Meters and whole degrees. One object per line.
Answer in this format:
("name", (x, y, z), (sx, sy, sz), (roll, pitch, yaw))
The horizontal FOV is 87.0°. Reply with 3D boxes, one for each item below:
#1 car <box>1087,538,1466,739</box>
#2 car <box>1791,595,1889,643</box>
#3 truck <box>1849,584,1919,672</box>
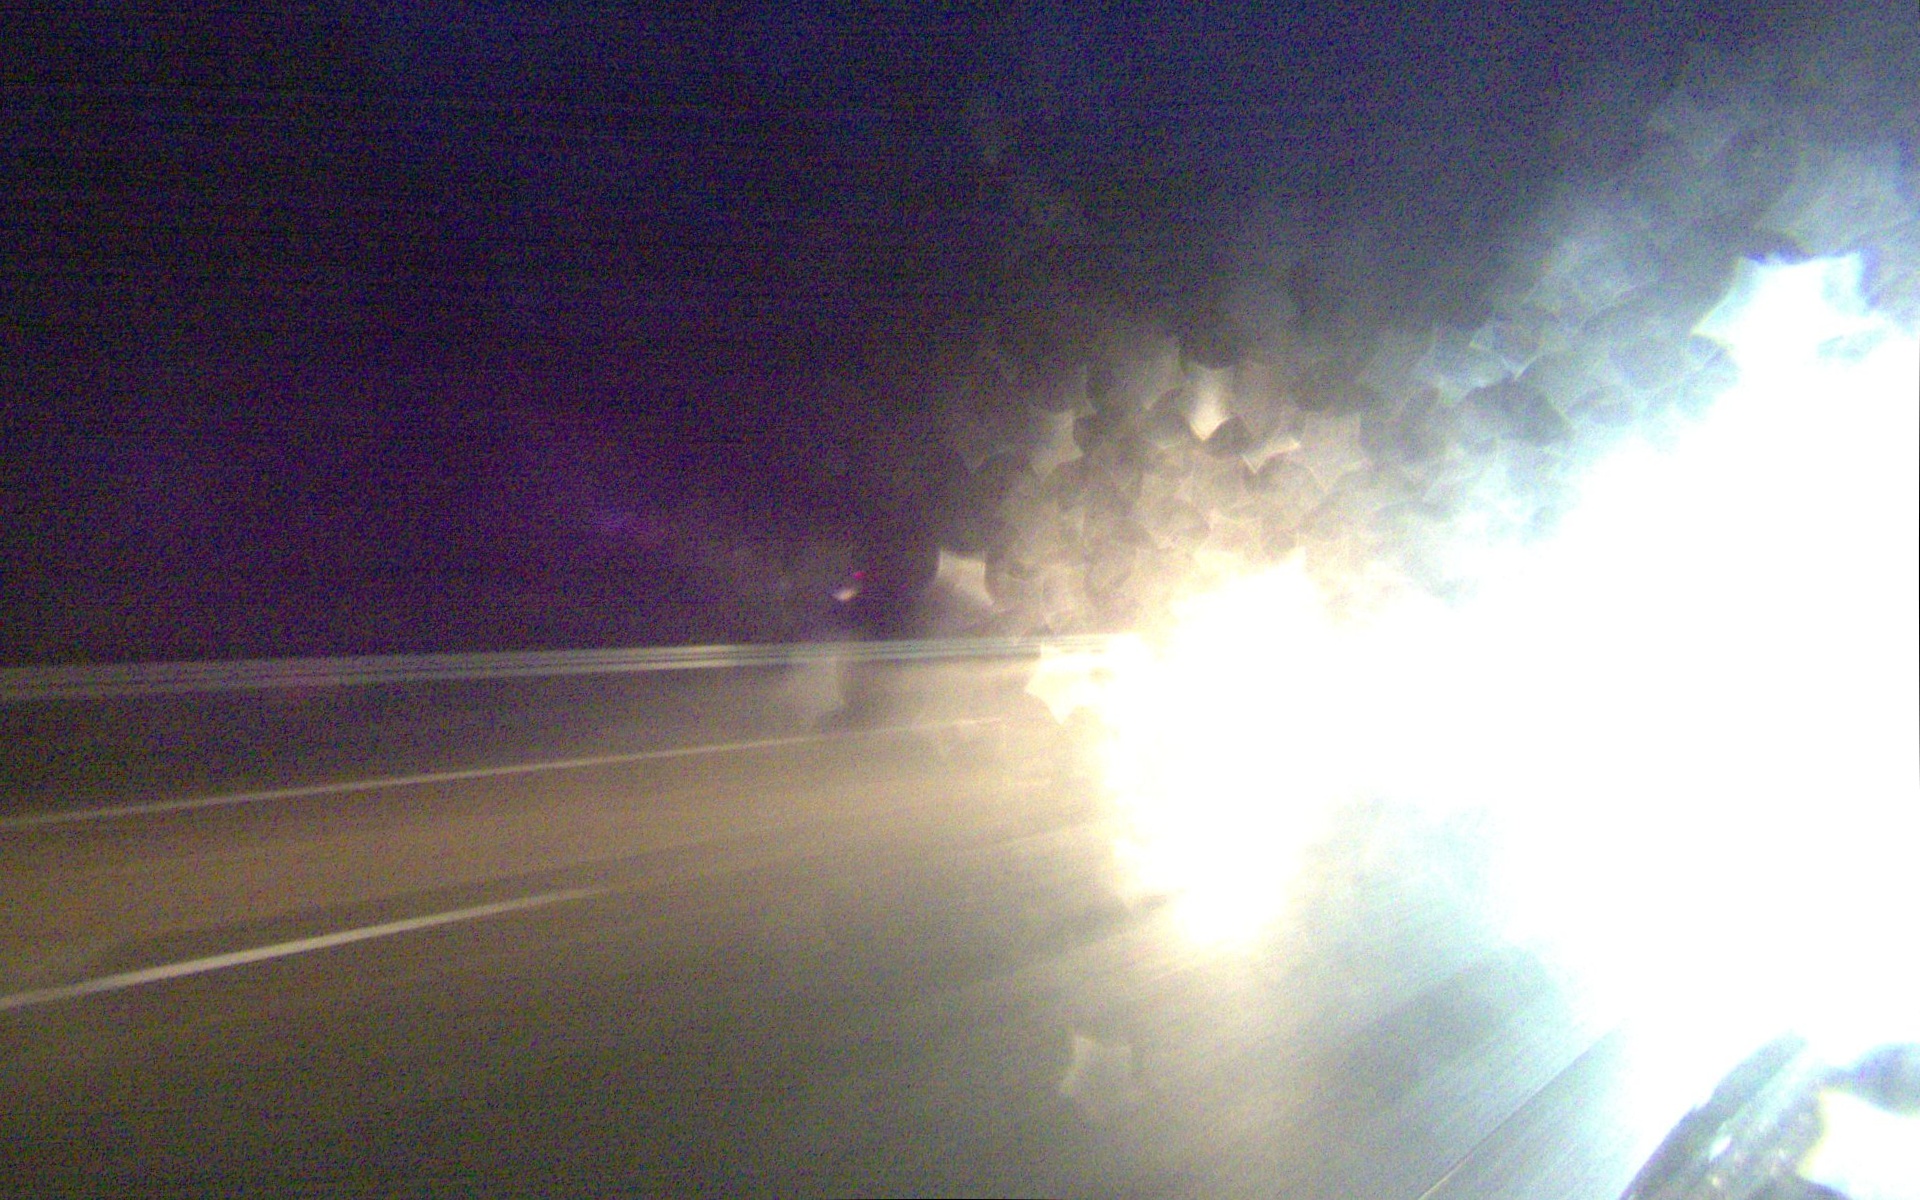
("car", (4.123, 0.369, 12.585), (5.313, 1.999, 2.050), (0, 1, -42))
("car", (29.407, 0.600, 33.753), (5.272, 1.498, 1.746), (0, 0, -41))
("truck", (20.546, 0.521, 21.500), (4.769, 1.717, 1.847), (-1, 0, -41))
